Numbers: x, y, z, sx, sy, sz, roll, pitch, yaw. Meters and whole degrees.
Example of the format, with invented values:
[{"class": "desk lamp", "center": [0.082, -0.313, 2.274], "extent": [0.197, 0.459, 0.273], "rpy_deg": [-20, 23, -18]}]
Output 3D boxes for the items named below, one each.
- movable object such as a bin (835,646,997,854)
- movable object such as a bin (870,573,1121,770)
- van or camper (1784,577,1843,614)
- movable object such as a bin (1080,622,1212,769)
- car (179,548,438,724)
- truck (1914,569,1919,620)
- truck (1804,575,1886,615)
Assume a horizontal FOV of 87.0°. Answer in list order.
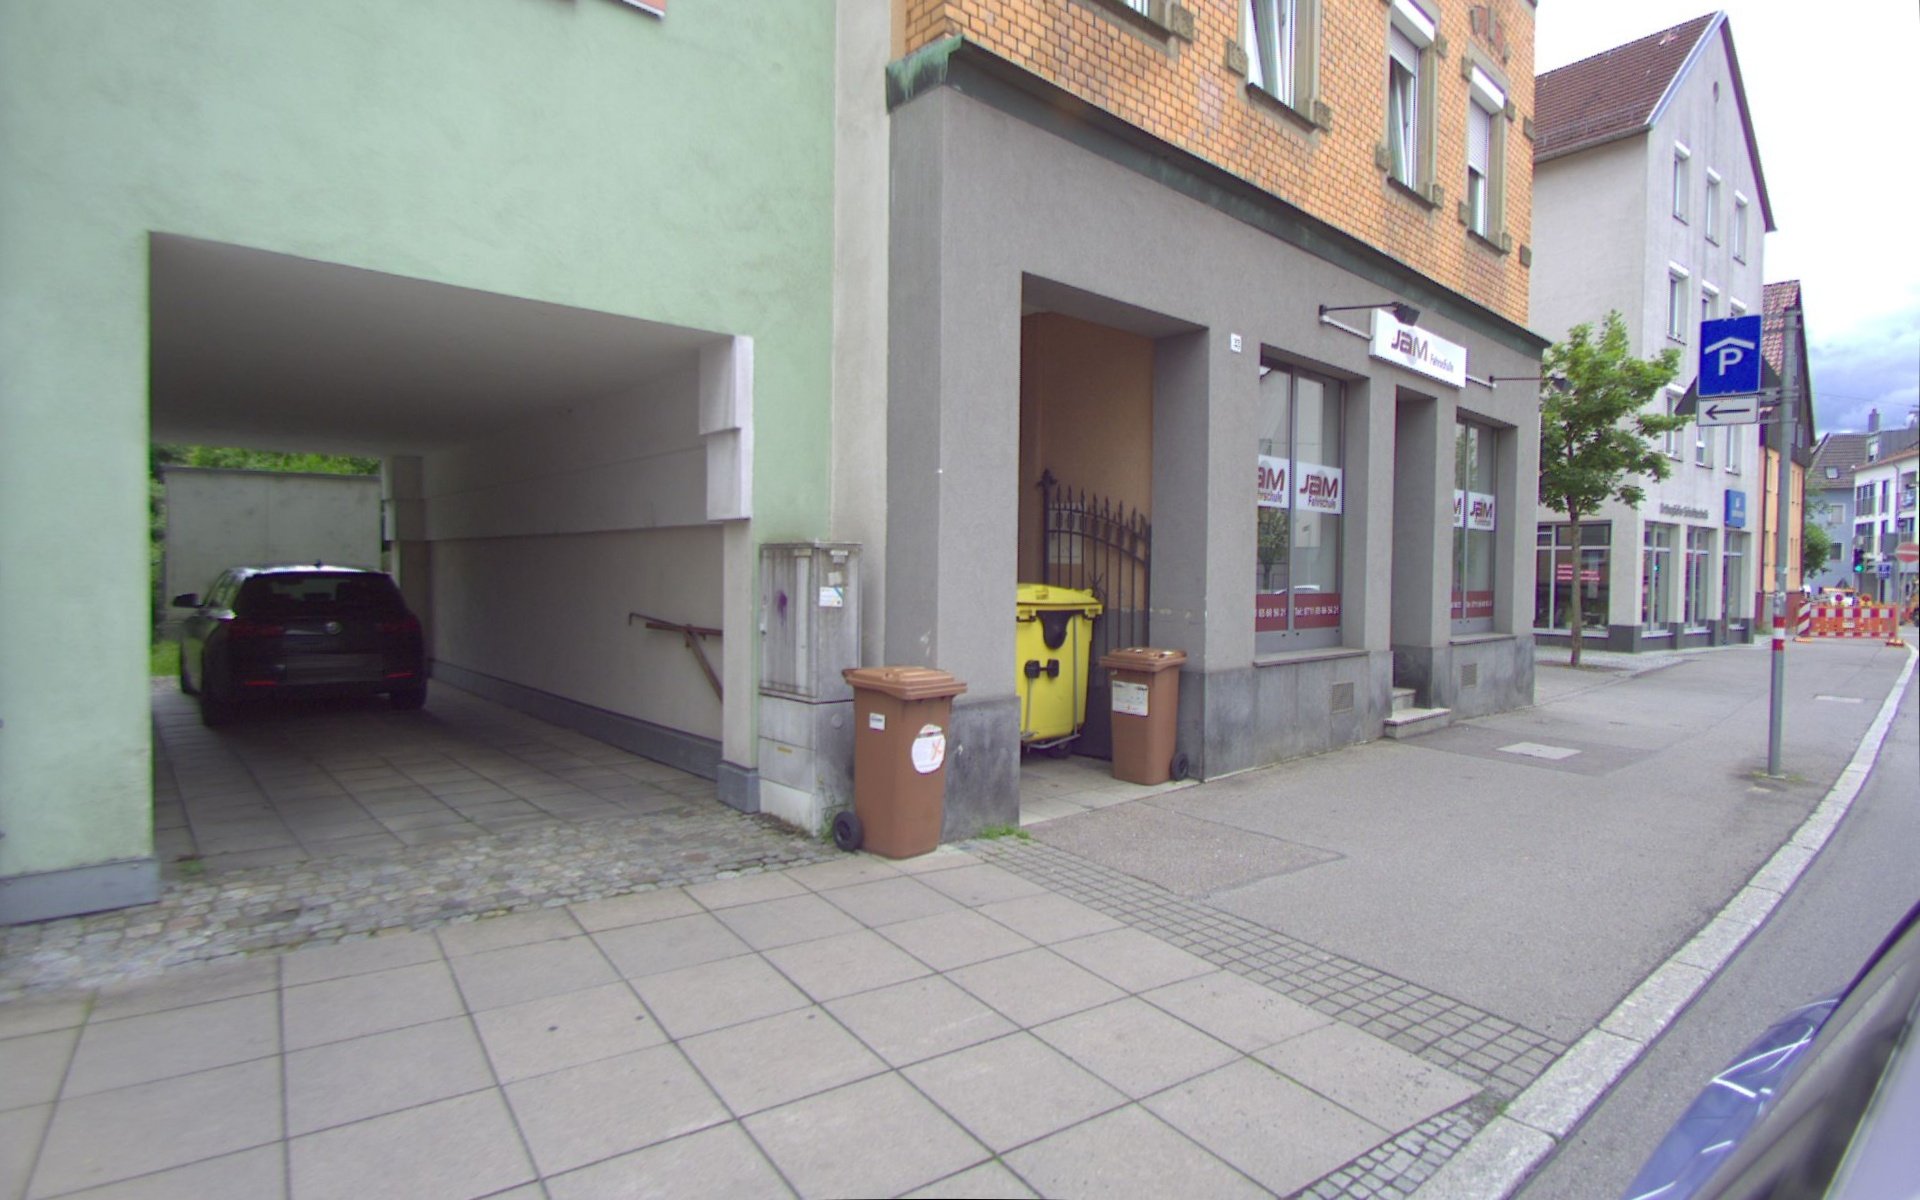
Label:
[{"class": "movable object such as a bin", "center": [-0.233, 0.735, 5.244], "extent": [0.571, 0.932, 0.621], "rpy_deg": [0, 1, -39]}, {"class": "movable object such as a bin", "center": [0.247, 0.475, 7.971], "extent": [1.139, 1.330, 1.674], "rpy_deg": [0, 2, -40]}, {"class": "van or camper", "center": [64.282, -0.318, 76.334], "extent": [2.307, 2.640, 6.141], "rpy_deg": [2, 1, 30]}, {"class": "movable object such as a bin", "center": [1.326, 0.647, 7.213], "extent": [0.726, 0.945, 0.581], "rpy_deg": [0, 1, -41]}, {"class": "car", "center": [-6.699, 0.223, 10.344], "extent": [1.865, 1.415, 4.000], "rpy_deg": [0, 2, -36]}, {"class": "truck", "center": [51.187, -0.245, 51.059], "extent": [2.716, 2.759, 6.777], "rpy_deg": [2, 1, 29]}, {"class": "truck", "center": [59.791, -0.312, 68.524], "extent": [2.397, 2.496, 6.252], "rpy_deg": [2, 1, 25]}]
